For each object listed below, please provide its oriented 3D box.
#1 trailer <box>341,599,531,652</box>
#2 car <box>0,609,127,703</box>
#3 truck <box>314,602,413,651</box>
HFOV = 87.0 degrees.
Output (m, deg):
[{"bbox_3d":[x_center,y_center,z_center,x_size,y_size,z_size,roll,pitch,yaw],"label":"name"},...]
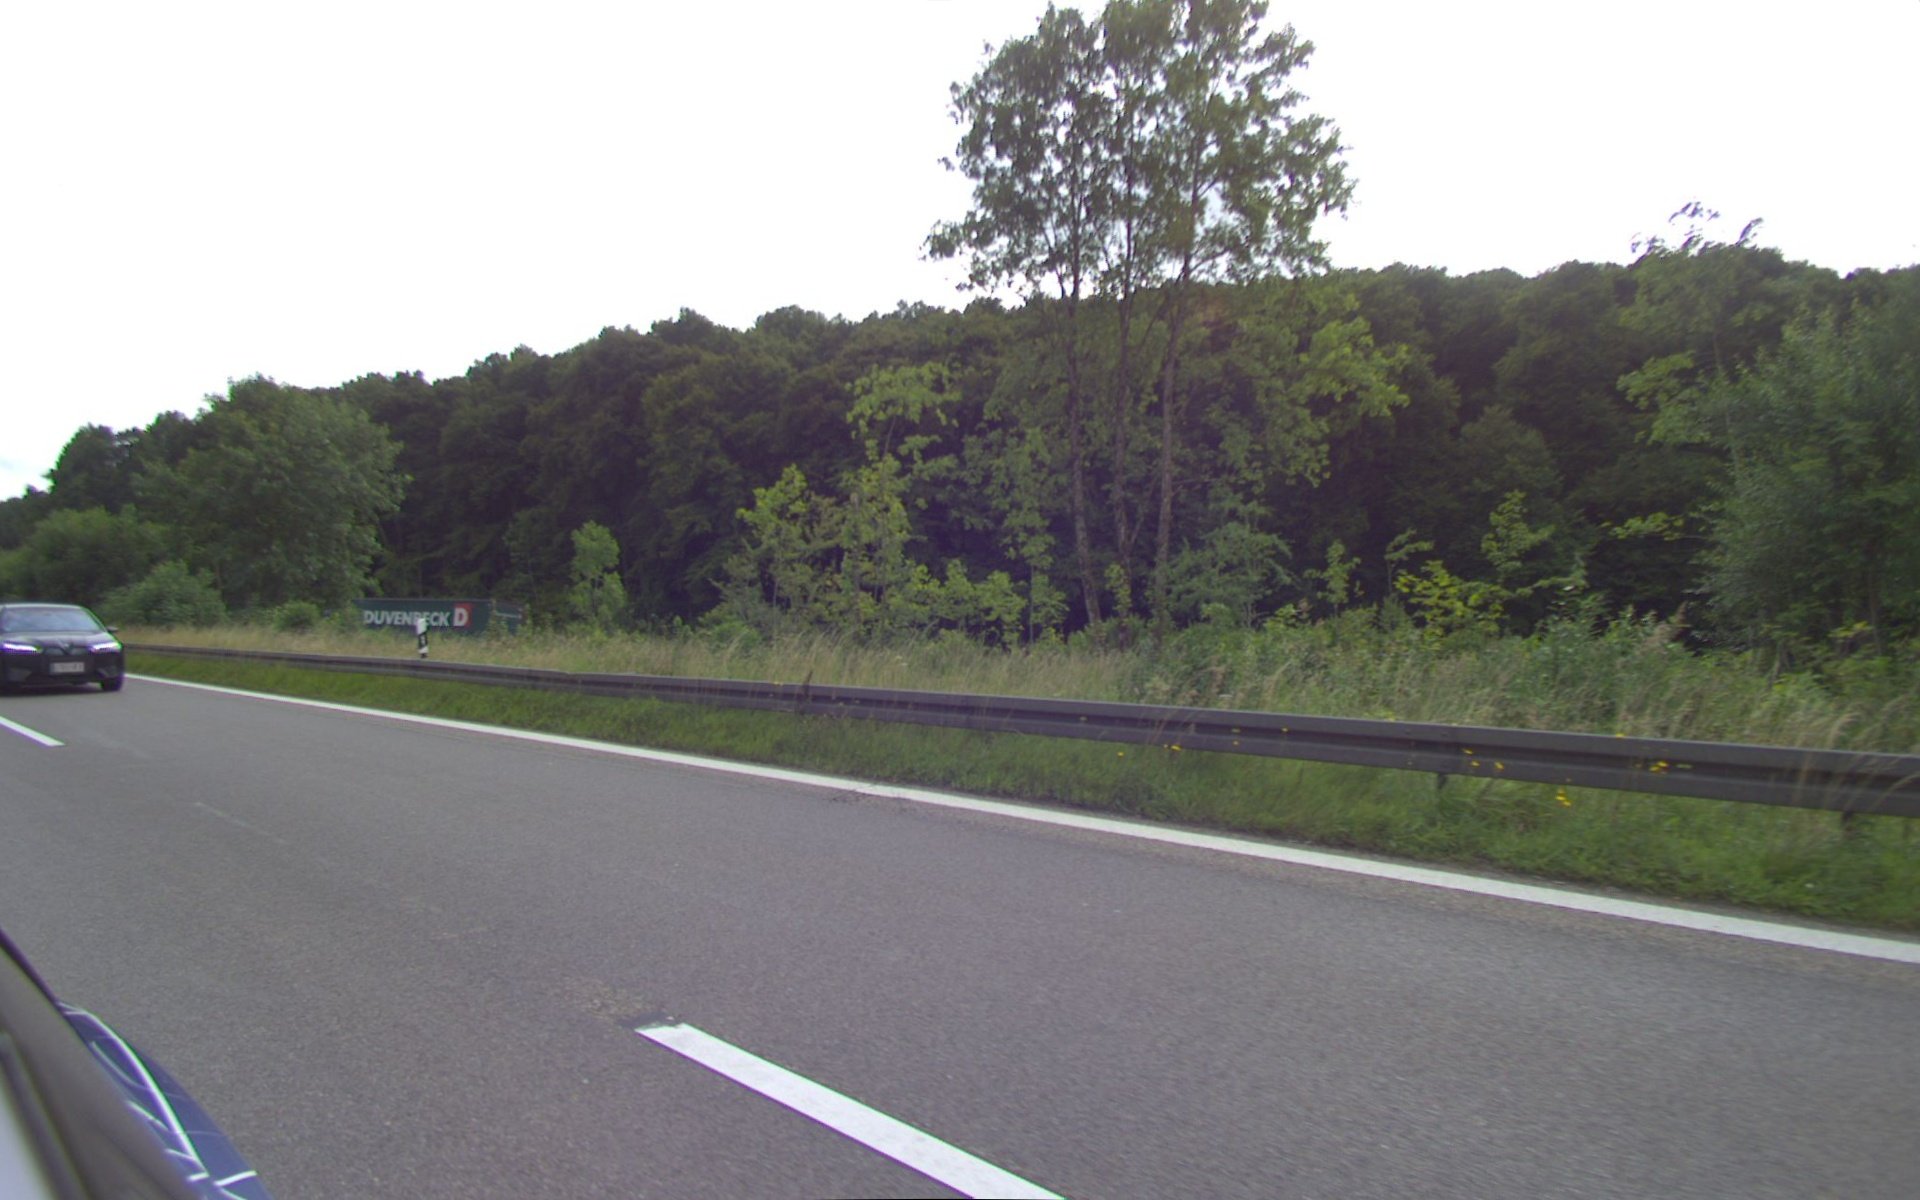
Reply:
[{"bbox_3d":[-34.223,1.679,65.851,13.728,3.244,3.137,-1,-1,24],"label":"trailer"},{"bbox_3d":[-18.199,1.033,19.933,4.411,1.678,1.973,-1,-2,40],"label":"car"},{"bbox_3d":[-40.415,1.791,68.585,5.696,3.244,3.137,-1,-1,24],"label":"truck"}]
